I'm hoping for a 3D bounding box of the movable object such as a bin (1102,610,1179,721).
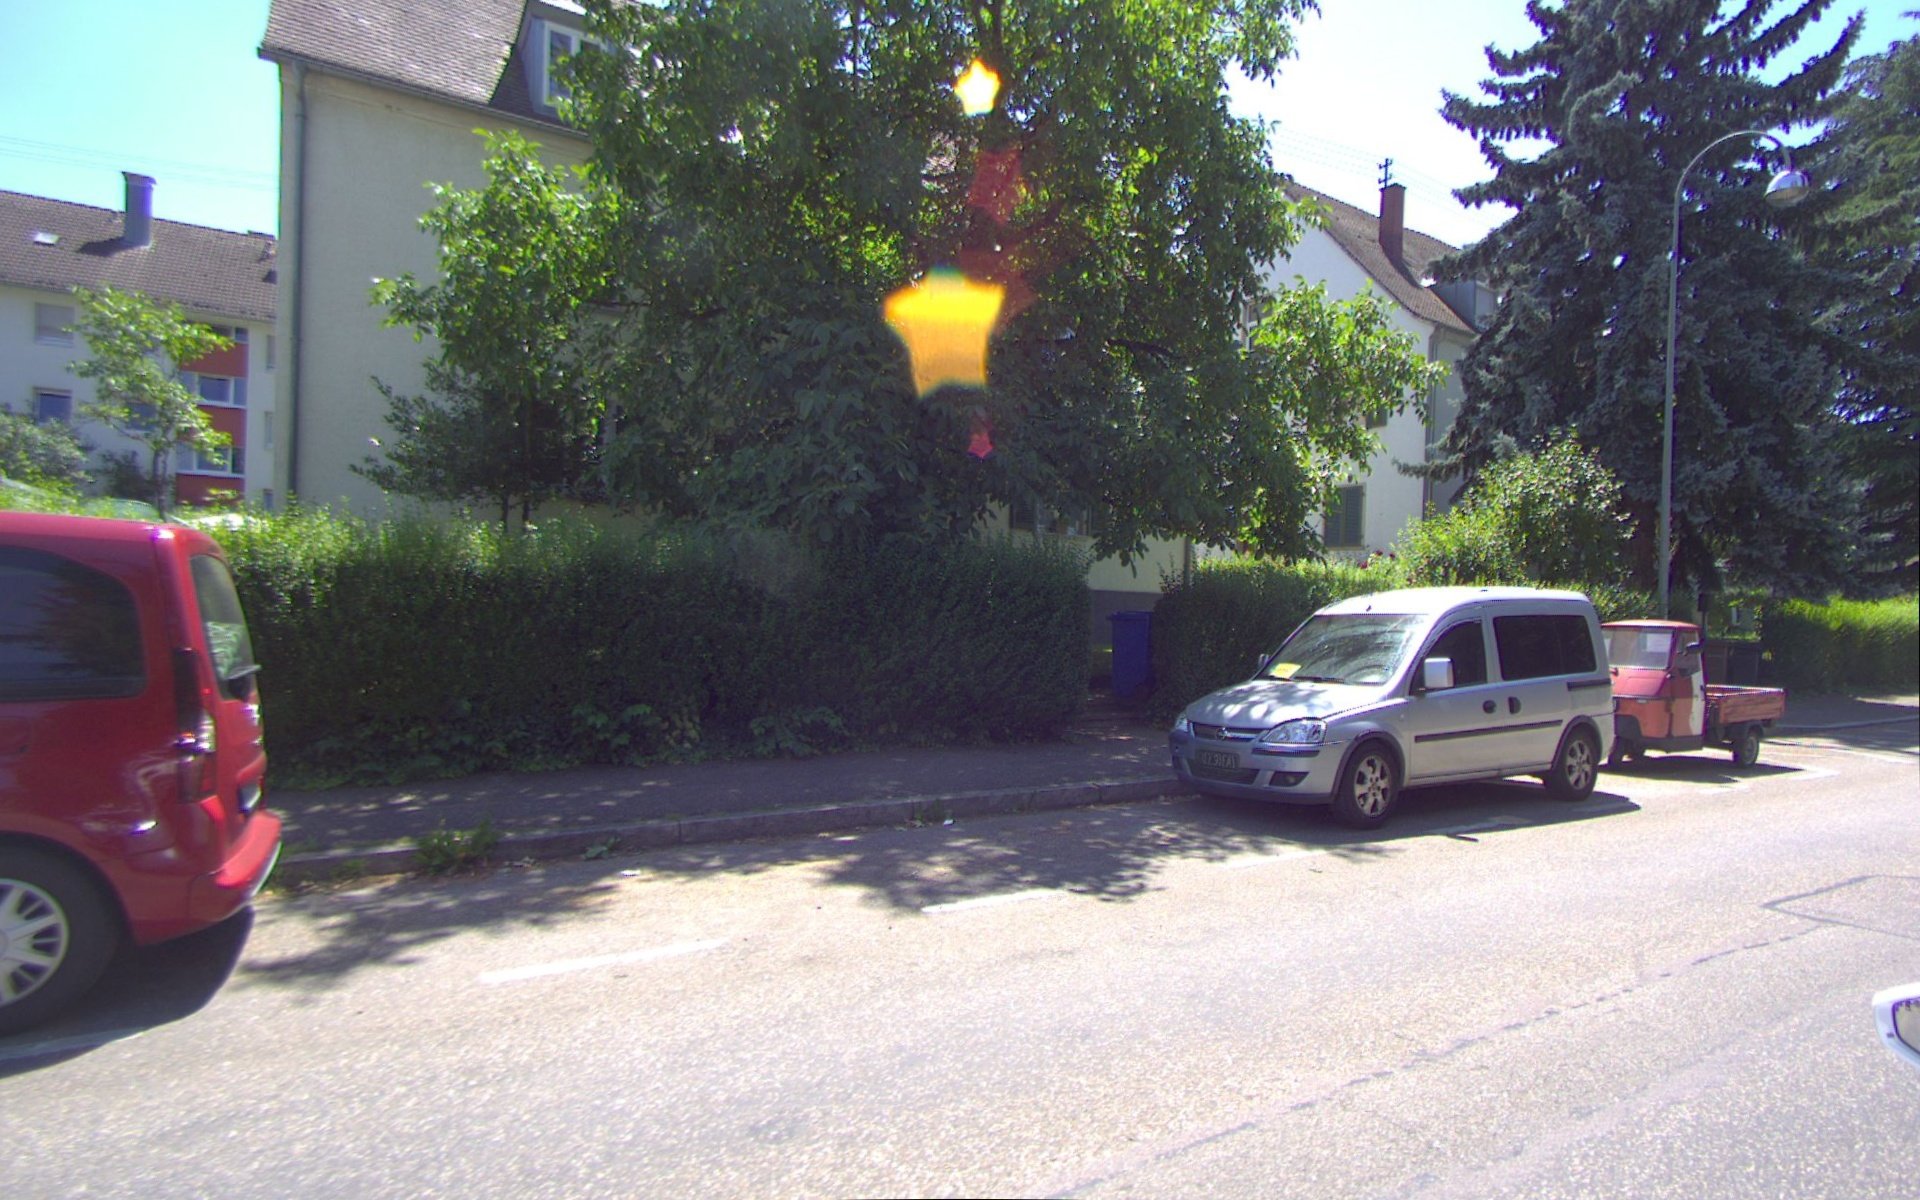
[{"bbox_3d":[2.229,0.793,12.407,0.718,1.312,0.609,1,0,-40],"label":"movable object such as a bin"}]

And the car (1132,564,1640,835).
[{"bbox_3d":[3.644,0.722,8.371,4.303,1.775,1.640,2,-1,-30],"label":"car"}]

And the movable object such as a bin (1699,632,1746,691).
[{"bbox_3d":[15.122,1.208,19.925,0.635,1.097,0.482,0,4,-33],"label":"movable object such as a bin"}]

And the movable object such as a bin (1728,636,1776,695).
[{"bbox_3d":[15.398,1.257,19.528,0.610,1.080,0.482,0,4,-33],"label":"movable object such as a bin"}]

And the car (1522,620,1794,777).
[{"bbox_3d":[7.717,1.003,11.096,2.806,1.523,1.405,1,-2,-30],"label":"car"}]

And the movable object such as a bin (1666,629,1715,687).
[{"bbox_3d":[14.826,1.169,20.400,0.638,1.097,0.536,0,4,-33],"label":"movable object such as a bin"}]

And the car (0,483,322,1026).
[{"bbox_3d":[-4.752,0.481,3.269,4.406,1.750,1.749,1,-1,-31],"label":"car"}]
